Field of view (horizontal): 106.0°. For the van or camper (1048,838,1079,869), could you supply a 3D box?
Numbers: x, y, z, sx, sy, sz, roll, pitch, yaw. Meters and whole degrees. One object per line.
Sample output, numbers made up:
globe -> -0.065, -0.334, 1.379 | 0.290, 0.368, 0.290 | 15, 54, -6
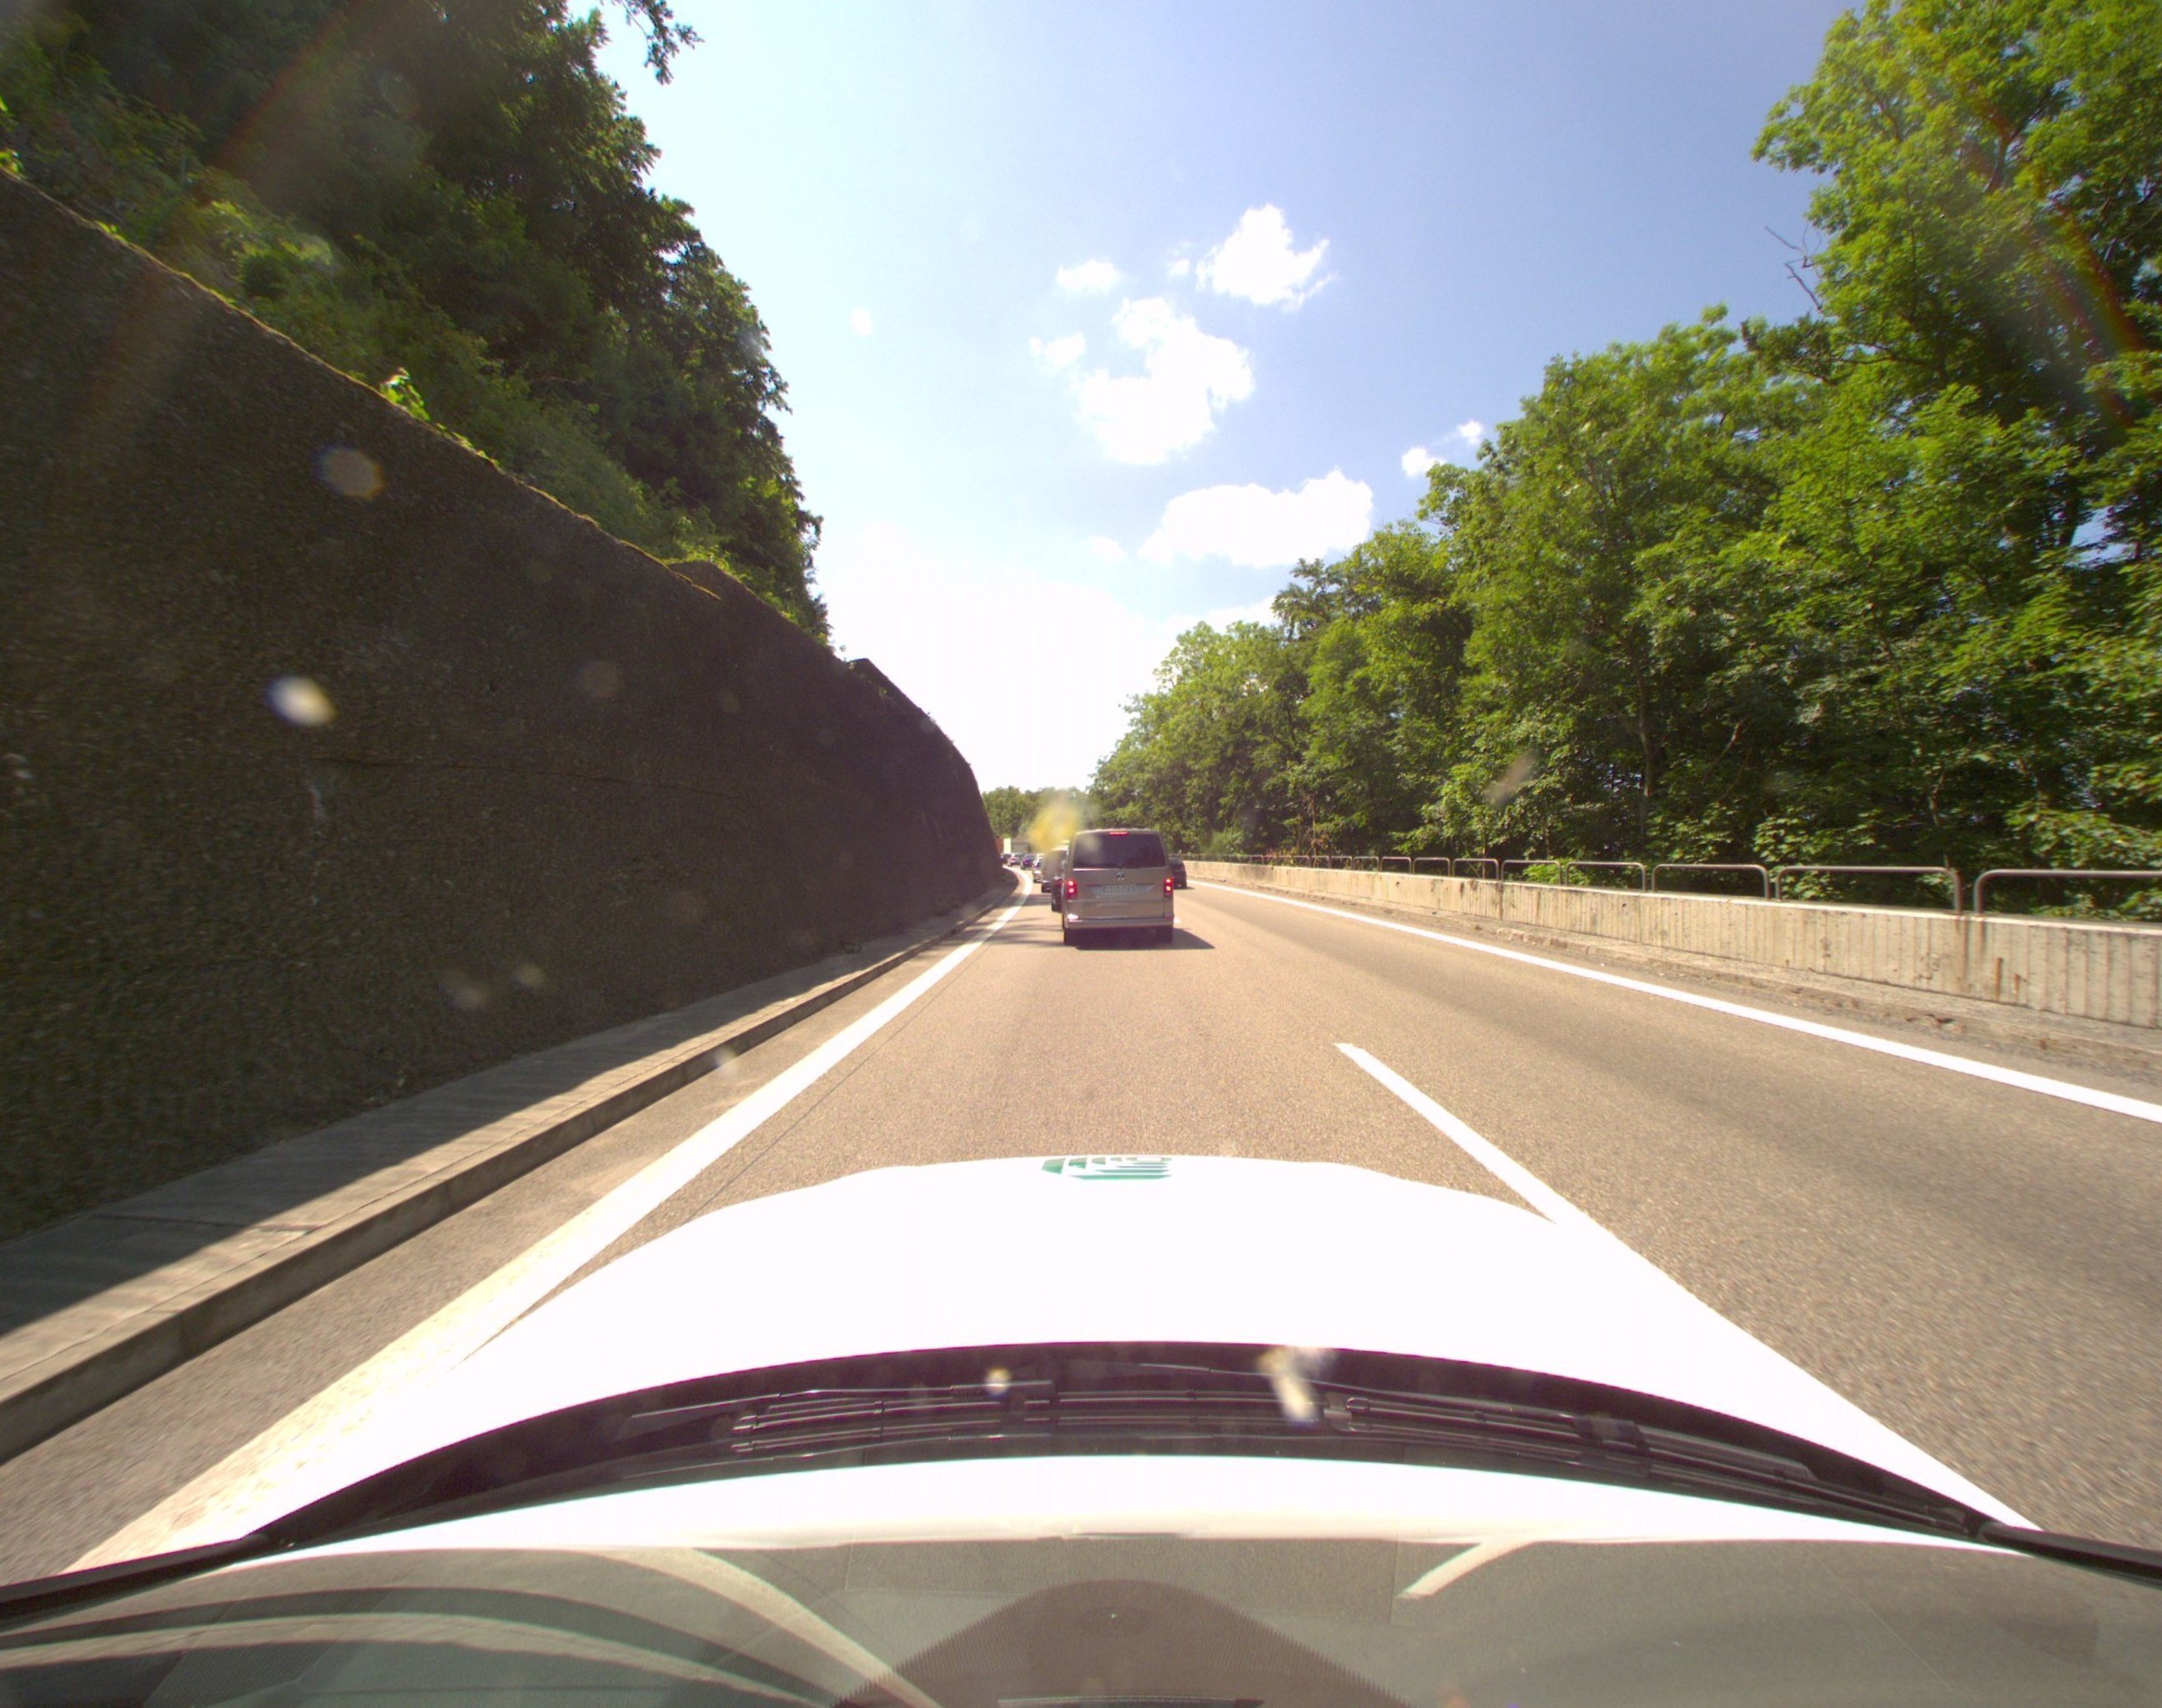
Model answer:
van or camper -> -1.858, -0.062, 84.583 | 2.600, 2.855, 6.324 | 4, 0, -5

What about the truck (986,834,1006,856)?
truck -> -15.236, -1.585, 145.221 | 3.161, 3.468, 8.199 | 4, 0, -8

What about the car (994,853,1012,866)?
car -> -9.696, 0.621, 101.351 | 1.753, 1.571, 3.754 | -1, 0, -13

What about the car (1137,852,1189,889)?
car -> 3.401, 0.660, 34.469 | 1.681, 1.458, 3.997 | 1, 0, -2

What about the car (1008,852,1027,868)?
car -> -7.030, 0.660, 89.635 | 1.990, 1.618, 3.993 | -1, 0, -5

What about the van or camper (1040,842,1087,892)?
van or camper -> -0.761, 0.514, 34.409 | 1.849, 1.942, 4.161 | -1, 0, -2

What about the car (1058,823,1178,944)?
car -> 0.542, 0.470, 15.475 | 1.935, 1.931, 4.691 | 0, 0, -2

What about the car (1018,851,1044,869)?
car -> -4.641, 0.556, 74.898 | 1.858, 1.619, 3.985 | -1, 0, -11

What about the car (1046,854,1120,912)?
car -> 0.124, 0.769, 23.355 | 1.897, 1.489, 4.381 | 1, 0, 2

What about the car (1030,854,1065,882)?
car -> -1.789, 0.761, 45.207 | 1.766, 1.472, 4.000 | 0, 0, 0

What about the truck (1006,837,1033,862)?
truck -> -9.264, -0.648, 122.037 | 2.927, 3.687, 7.693 | -1, 0, -11

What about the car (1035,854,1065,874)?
car -> -2.344, 0.716, 61.009 | 1.861, 1.486, 3.990 | -1, 0, -7
